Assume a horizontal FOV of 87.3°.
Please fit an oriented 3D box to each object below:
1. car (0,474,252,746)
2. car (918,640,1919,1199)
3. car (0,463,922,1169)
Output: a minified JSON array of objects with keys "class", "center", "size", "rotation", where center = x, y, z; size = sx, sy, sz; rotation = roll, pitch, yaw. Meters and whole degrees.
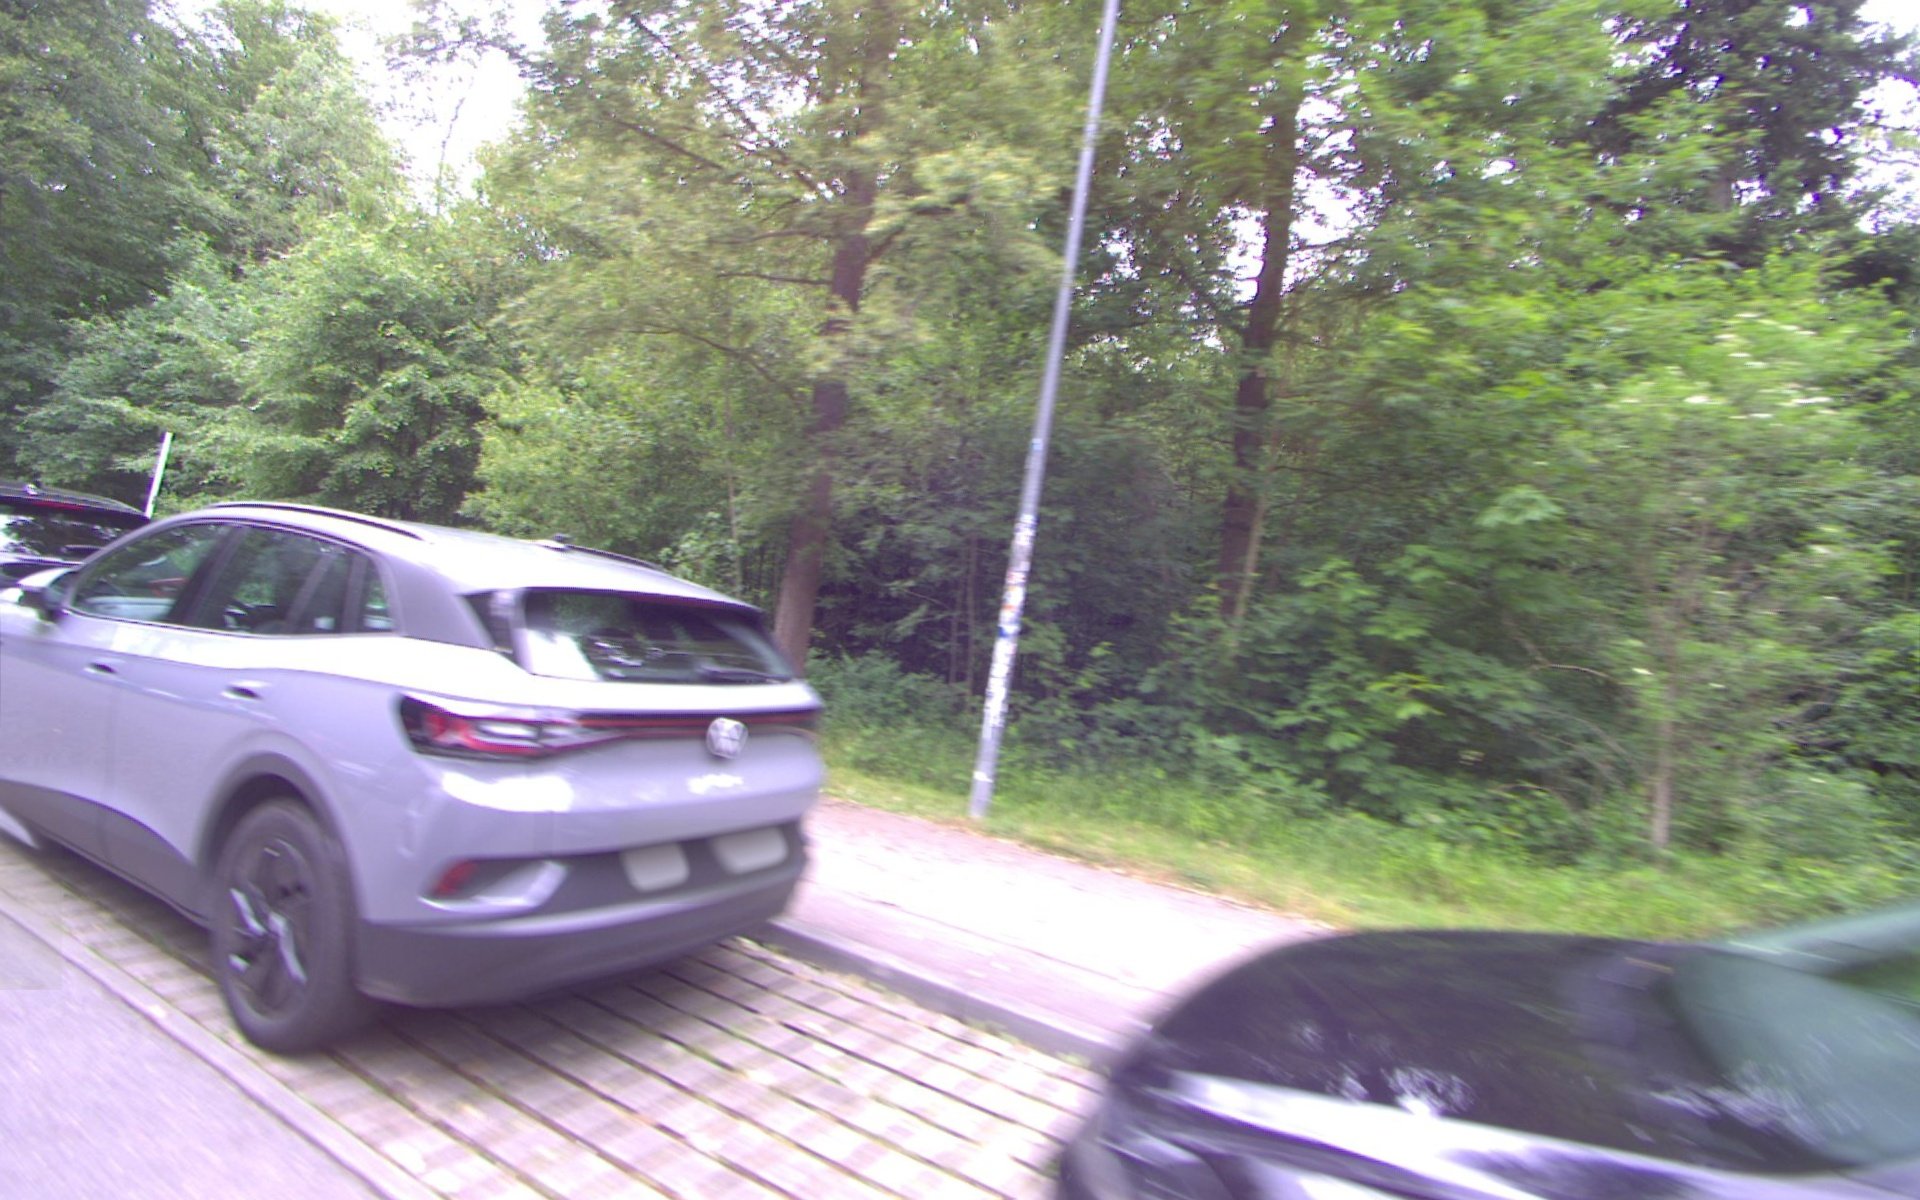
[{"class":"car","center":[-7.316,-0.138,7.160],"size":[4.347,1.578,1.844],"rotation":[7,-1,28]},{"class":"car","center":[2.081,1.072,1.365],"size":[3.933,1.459,1.823],"rotation":[7,-1,31]},{"class":"car","center":[-2.615,0.450,4.379],"size":[4.404,1.605,1.907],"rotation":[7,-2,29]}]
